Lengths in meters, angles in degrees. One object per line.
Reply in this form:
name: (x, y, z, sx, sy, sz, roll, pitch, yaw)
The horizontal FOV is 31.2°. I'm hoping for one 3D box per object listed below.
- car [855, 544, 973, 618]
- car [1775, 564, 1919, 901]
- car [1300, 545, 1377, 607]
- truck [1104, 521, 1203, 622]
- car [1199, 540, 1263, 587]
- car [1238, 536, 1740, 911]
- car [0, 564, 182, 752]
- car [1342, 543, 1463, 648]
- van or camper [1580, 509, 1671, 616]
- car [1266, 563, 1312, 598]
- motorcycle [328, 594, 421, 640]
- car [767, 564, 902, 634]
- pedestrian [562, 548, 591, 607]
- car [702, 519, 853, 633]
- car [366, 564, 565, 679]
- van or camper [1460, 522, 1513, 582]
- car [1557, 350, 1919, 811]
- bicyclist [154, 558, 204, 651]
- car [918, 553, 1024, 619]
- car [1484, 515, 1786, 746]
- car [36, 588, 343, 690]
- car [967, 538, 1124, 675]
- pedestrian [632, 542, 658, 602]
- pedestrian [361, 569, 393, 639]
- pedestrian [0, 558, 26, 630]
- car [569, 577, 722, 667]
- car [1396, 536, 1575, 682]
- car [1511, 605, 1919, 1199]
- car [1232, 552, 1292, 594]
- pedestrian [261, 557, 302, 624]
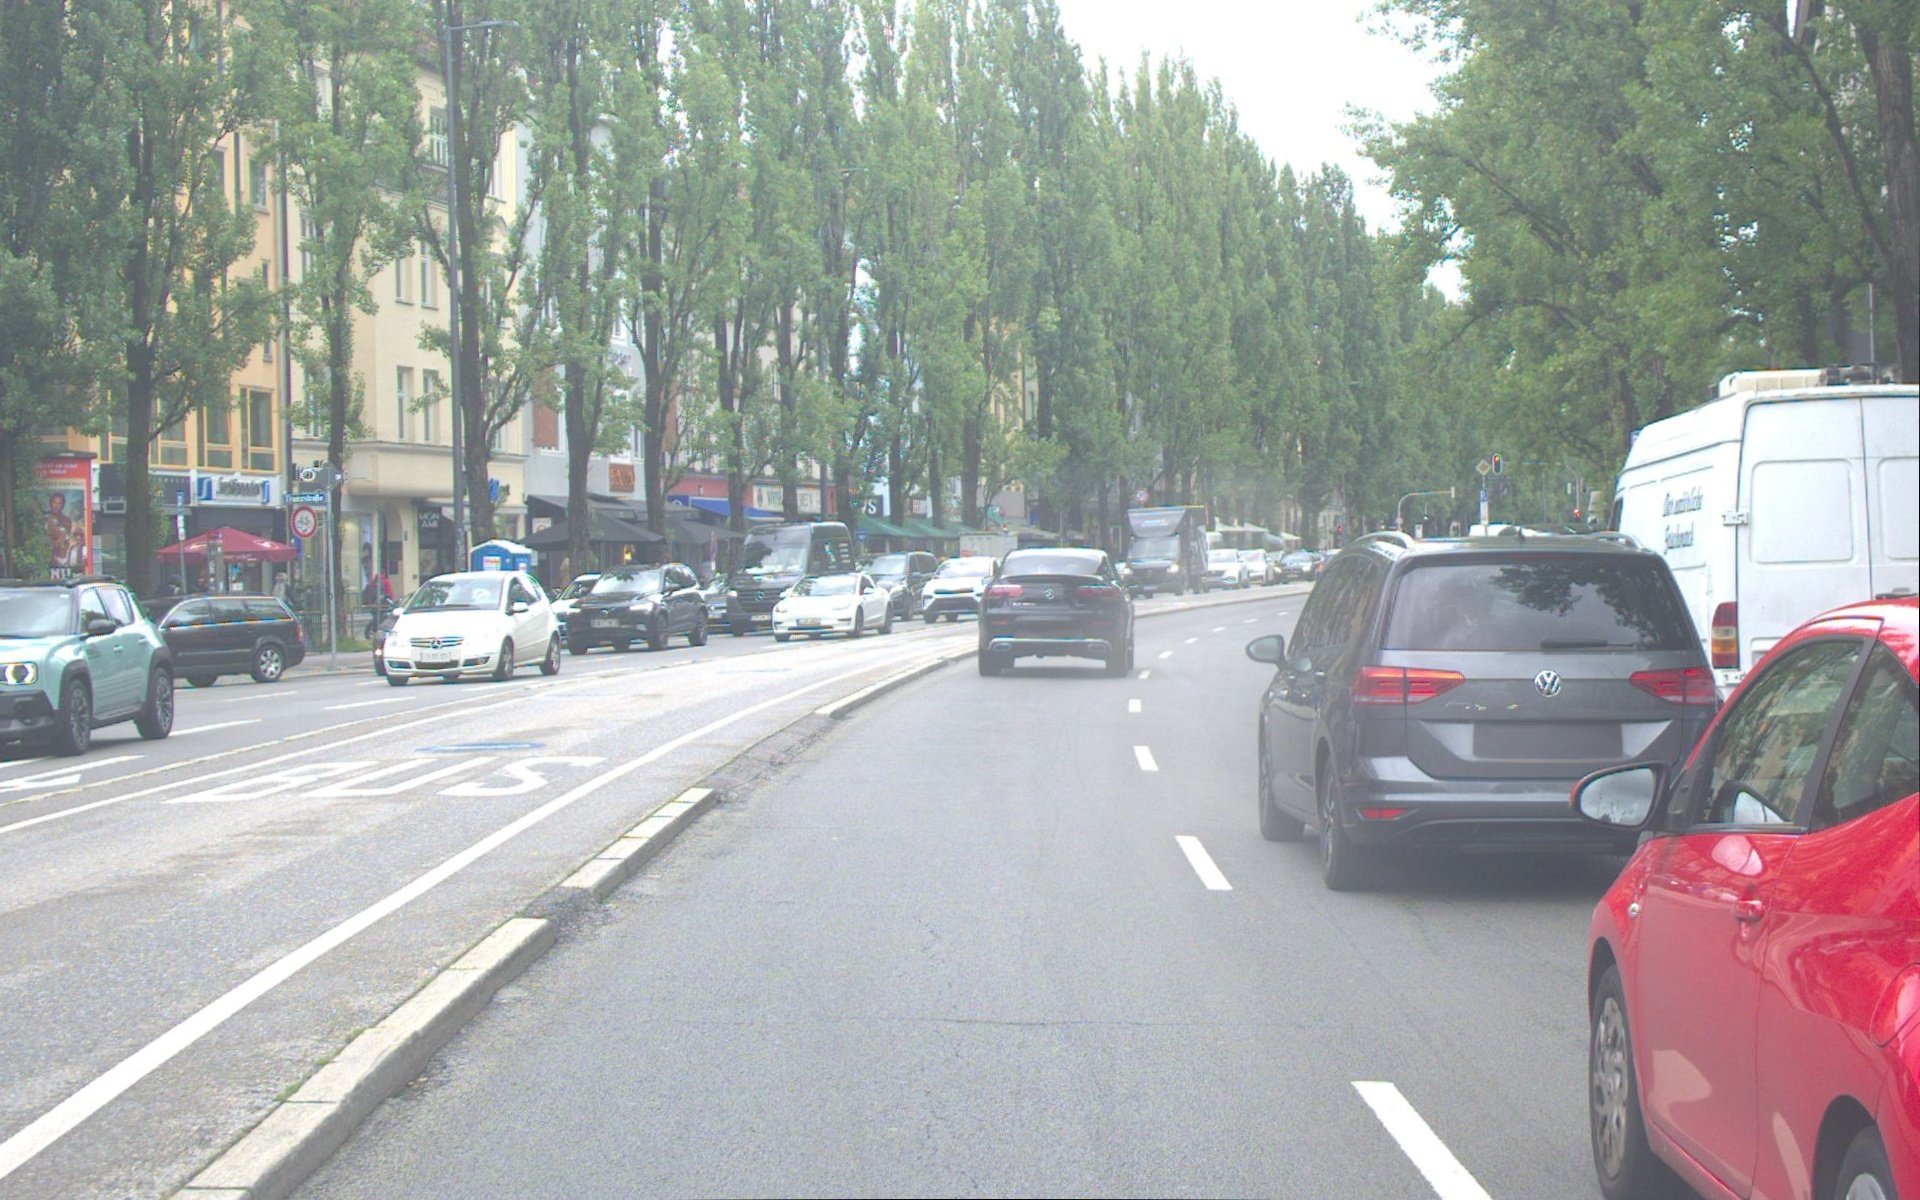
car: (-1.212, -0.546, 93.784, 1.994, 1.857, 5.709, -3, 0, 11)
car: (5.109, 0.577, 16.246, 1.725, 1.449, 4.147, 1, 1, 3)
car: (10.165, -0.638, 92.124, 1.760, 1.614, 3.745, 0, 0, 10)
truck: (6.793, -1.018, 120.018, 2.292, 3.311, 7.153, -2, 0, 12)
car: (10.583, -1.436, 133.822, 1.861, 1.705, 4.534, -2, 1, 12)
car: (2.441, 0.507, 16.861, 1.761, 1.608, 4.184, 0, 1, -1)
car: (-8.449, 0.504, 30.889, 1.817, 1.540, 4.000, -3, 1, 2)
car: (7.479, -0.073, 57.866, 1.925, 1.694, 4.648, 0, 0, 8)
van or camper: (20.185, -1.135, 104.194, 2.461, 3.101, 4.713, -2, 1, 13)
car: (15.185, -0.887, 158.442, 1.668, 1.590, 3.998, 0, 0, 12)
motorcycle: (-13.282, 0.383, 77.976, 2.055, 1.033, 0.486, 0, 0, -8)
car: (-2.670, -0.047, 74.119, 1.800, 1.389, 4.688, -1, 1, 12)
pedestrian: (-11.211, -0.661, 100.491, 0.638, 1.694, 0.647, -1, 1, 12)
car: (-4.331, -0.597, 82.701, 2.171, 2.596, 6.061, -1, 1, 11)
car: (-7.206, 0.285, 50.462, 1.954, 1.584, 3.999, -1, 1, 6)
van or camper: (22.953, -2.069, 149.816, 2.035, 2.467, 3.998, -1, -1, 12)
car: (5.474, -0.118, 23.213, 1.993, 2.732, 5.554, 0, 0, 1)
bicyclist: (-13.462, 0.072, 59.250, 0.502, 1.587, 0.834, -1, 1, 12)
car: (0.306, -0.381, 88.020, 1.910, 1.597, 4.353, -1, 1, 11)
car: (5.659, 0.211, 29.381, 1.929, 1.799, 4.779, 0, 1, 4)
car: (-12.148, 0.596, 54.425, 1.926, 1.434, 4.497, -1, 1, 38)
car: (1.138, 0.050, 44.222, 1.881, 1.636, 4.582, -1, 1, 2)
pedestrian: (-9.917, -0.877, 108.255, 0.638, 1.855, 0.647, -1, 1, 12)
pedestrian: (-14.591, 0.098, 86.074, 0.539, 1.741, 0.755, 0, 1, 12)
pedestrian: (-19.153, -0.124, 68.897, 0.632, 1.430, 0.778, -1, 1, -1)
car: (-6.394, 0.427, 70.499, 2.019, 1.710, 4.981, -1, 1, 8)
car: (6.327, 0.082, 41.771, 1.727, 1.680, 4.408, 0, 1, 3)
car: (2.231, 0.740, 6.885, 1.665, 1.441, 3.596, 0, 0, 0)
car: (12.583, -1.129, 142.959, 1.940, 1.636, 4.461, -2, 1, 11)
pedestrian: (-16.003, -0.229, 81.060, 0.634, 1.556, 0.815, -1, 1, 14)
